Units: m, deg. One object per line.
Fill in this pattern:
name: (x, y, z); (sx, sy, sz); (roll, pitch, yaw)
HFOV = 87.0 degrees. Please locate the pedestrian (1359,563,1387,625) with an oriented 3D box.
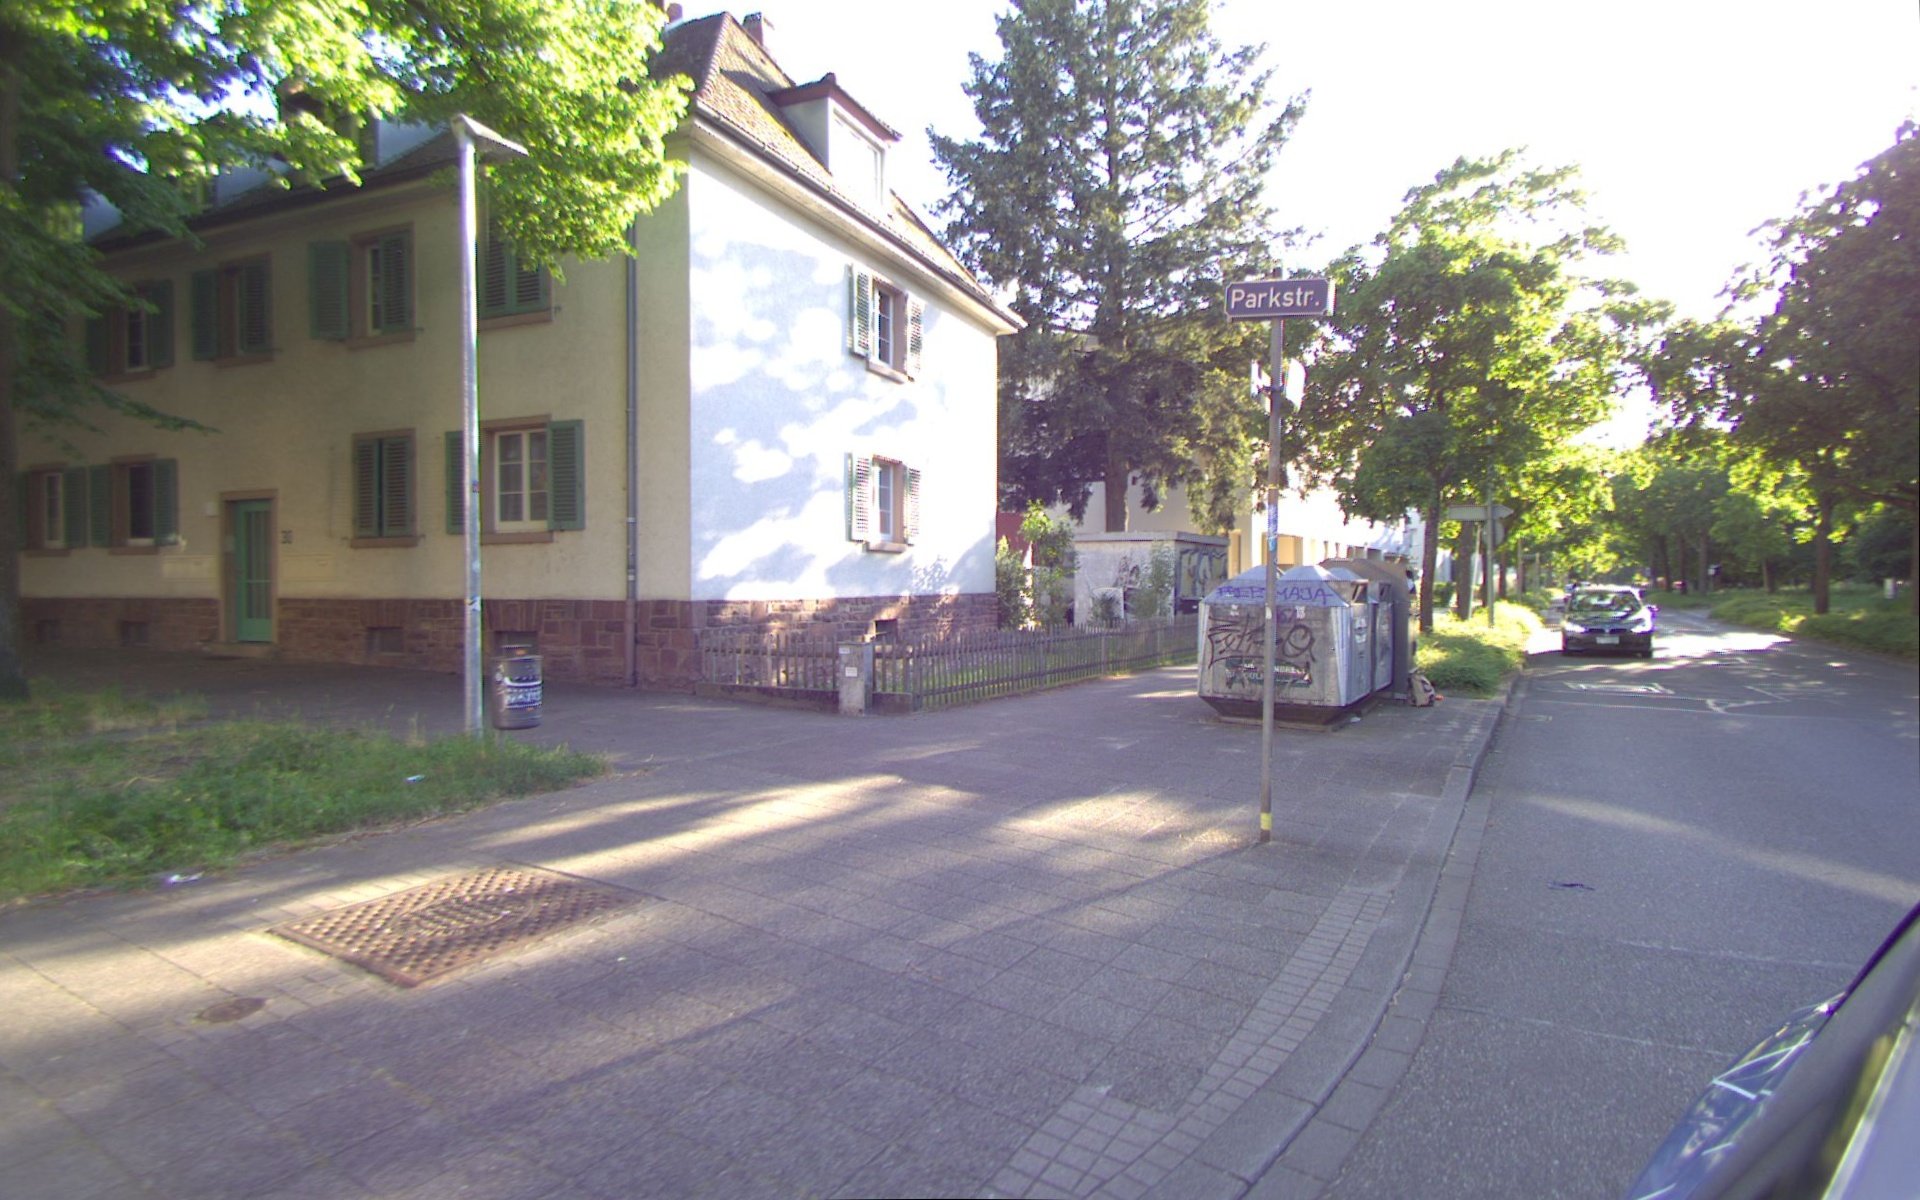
pedestrian: (13.075, -0.197, 32.011); (0.639, 1.917, 1.007); (-1, 0, 32)

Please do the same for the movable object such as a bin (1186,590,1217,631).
movable object such as a bin: (6.402, 0.282, 26.837); (0.640, 1.042, 0.638); (2, 2, 31)

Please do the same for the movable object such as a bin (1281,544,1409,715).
movable object such as a bin: (4.524, 0.305, 11.841); (1.141, 1.850, 1.371); (-1, 1, 31)

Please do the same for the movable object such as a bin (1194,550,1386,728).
movable object such as a bin: (3.503, 0.360, 10.666); (1.578, 1.678, 1.622); (-1, 1, 31)

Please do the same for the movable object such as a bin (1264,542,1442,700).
movable object such as a bin: (5.094, 0.247, 13.102); (1.911, 1.876, 1.378); (-1, 1, 32)

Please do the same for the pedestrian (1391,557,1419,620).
pedestrian: (13.860, -0.355, 31.517); (0.669, 1.917, 0.885); (-1, 0, 32)

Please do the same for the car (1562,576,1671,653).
car: (15.614, 0.275, 24.259); (1.874, 1.642, 4.571); (-1, 1, 30)

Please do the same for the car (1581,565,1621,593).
car: (38.613, -1.265, 60.958); (1.985, 1.559, 3.954); (-1, 1, 33)
